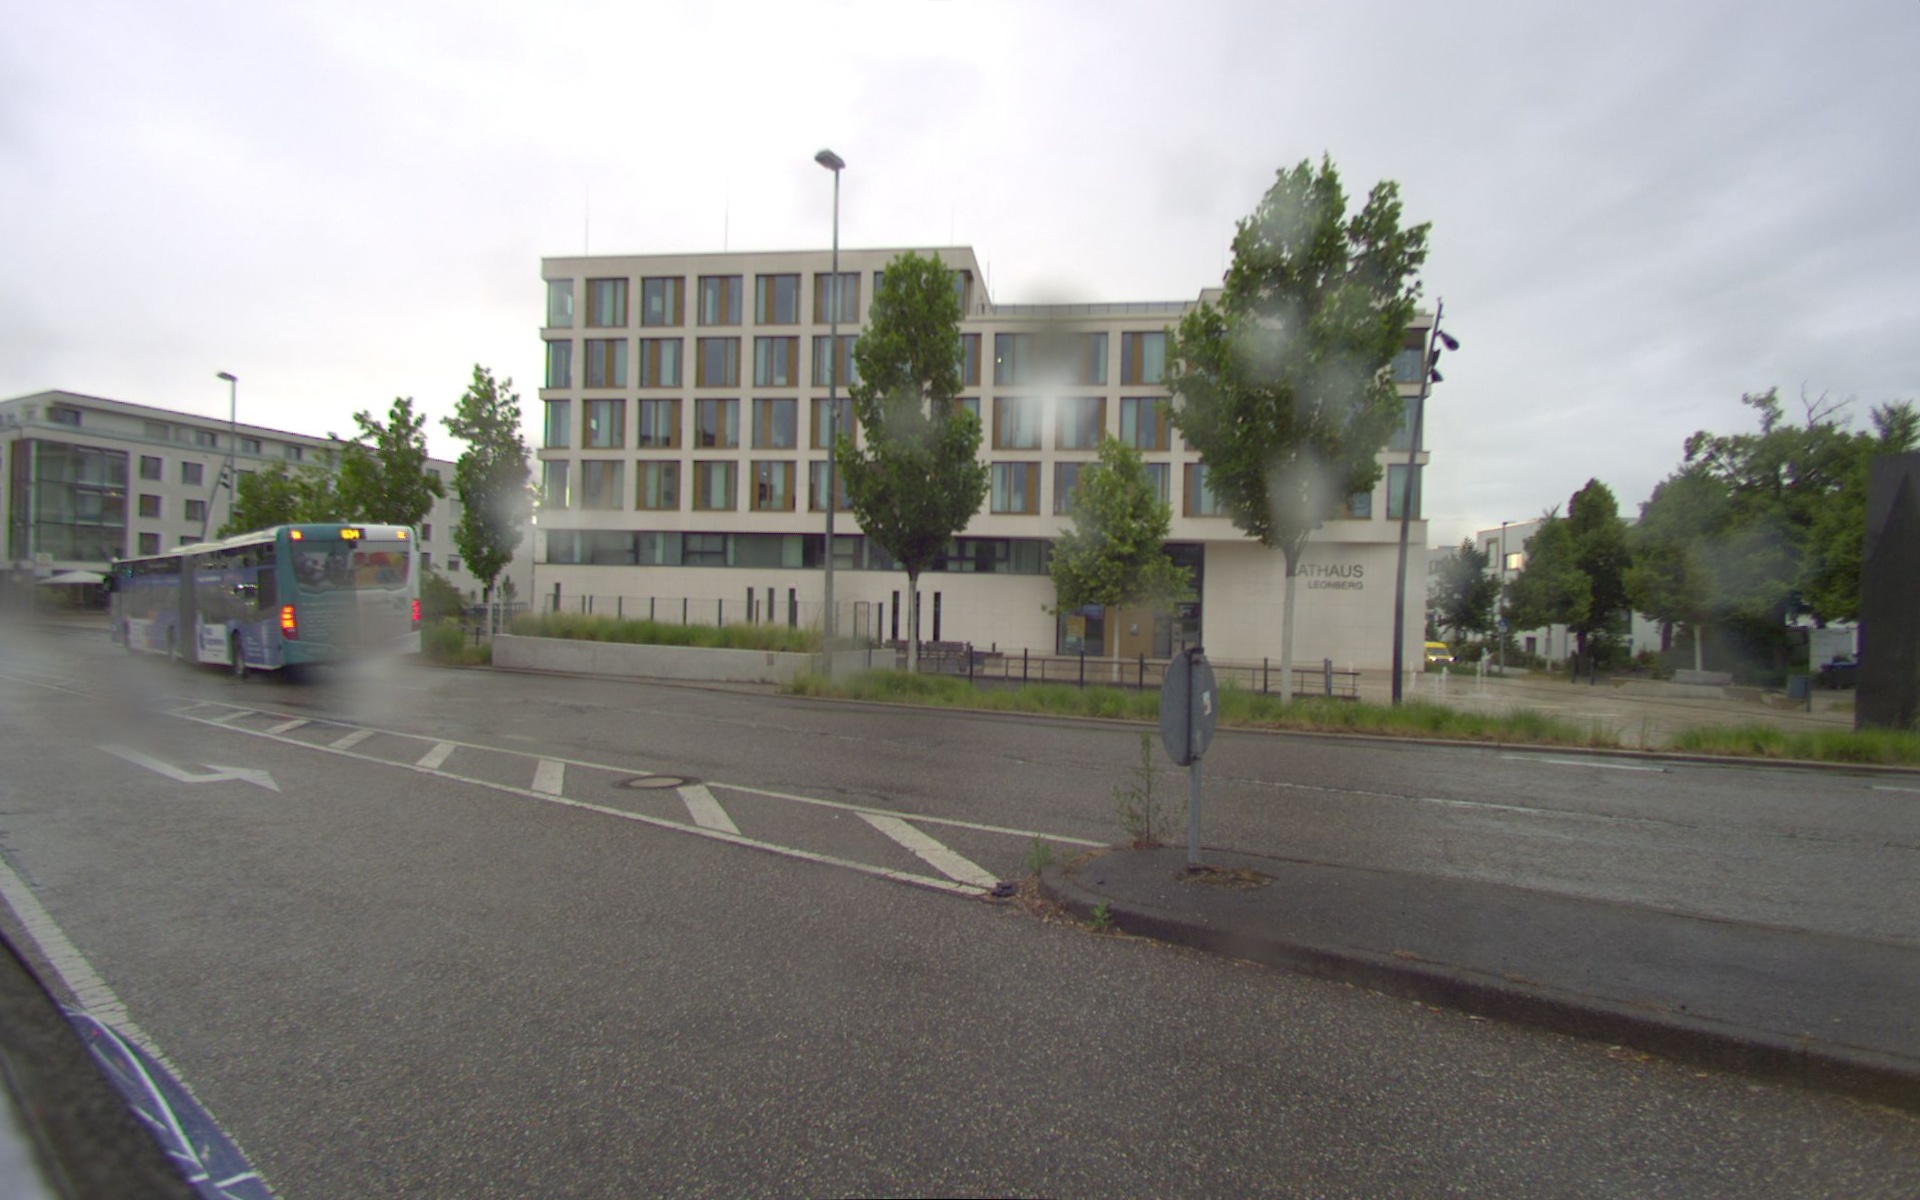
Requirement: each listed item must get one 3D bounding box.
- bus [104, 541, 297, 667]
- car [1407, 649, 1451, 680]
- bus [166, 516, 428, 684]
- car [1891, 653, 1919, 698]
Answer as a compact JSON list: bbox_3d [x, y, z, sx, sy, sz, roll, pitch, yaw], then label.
[{"bbox_3d":[-22.087,0.165,29.189,8.882,3.138,2.762,-1,-2,42],"label":"bus"},{"bbox_3d":[38.600,5.313,83.421,1.979,2.428,5.895,1,-3,11],"label":"car"},{"bbox_3d":[-15.358,0.068,23.037,9.367,3.138,2.746,-1,-2,43],"label":"bus"},{"bbox_3d":[30.786,2.353,30.637,1.771,1.401,4.266,0,-2,11],"label":"car"}]
